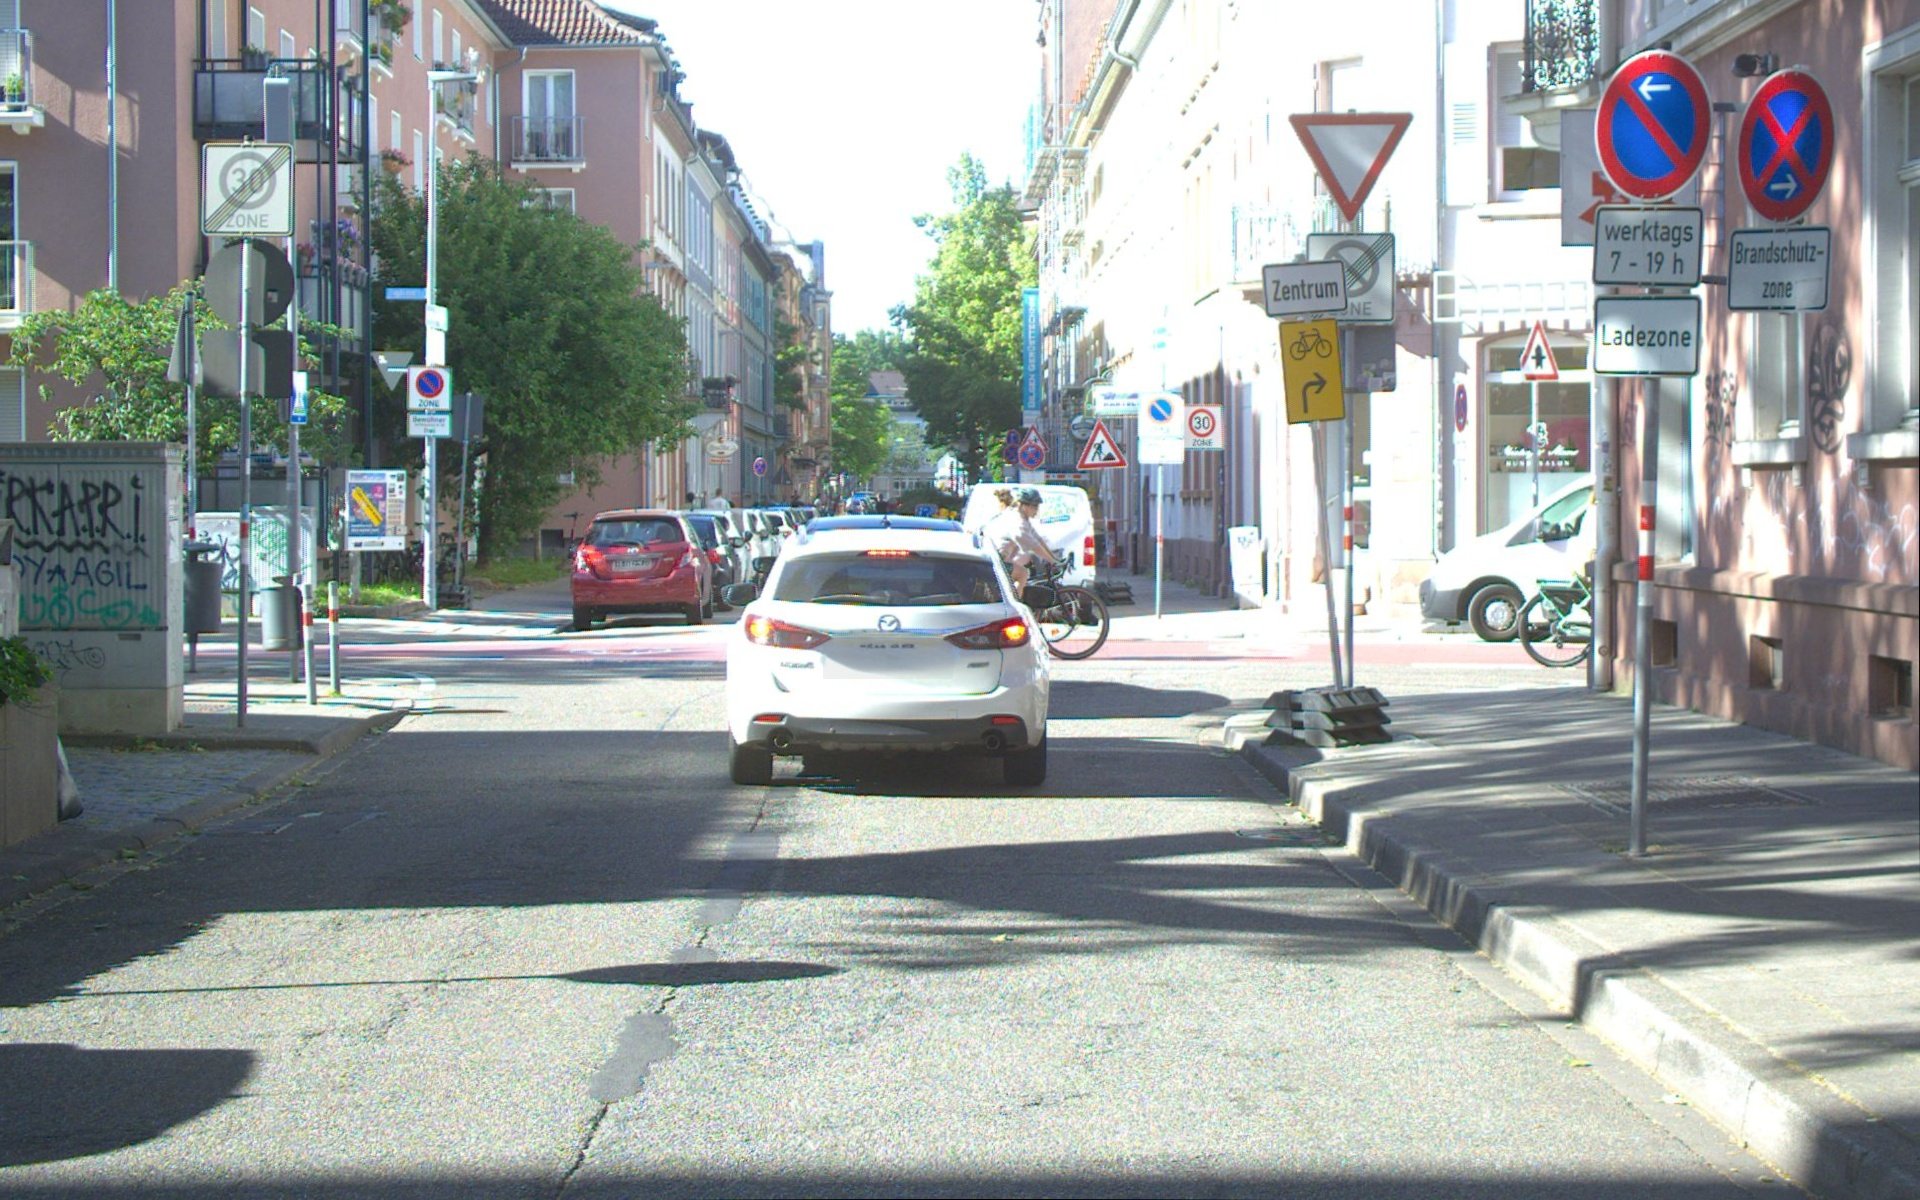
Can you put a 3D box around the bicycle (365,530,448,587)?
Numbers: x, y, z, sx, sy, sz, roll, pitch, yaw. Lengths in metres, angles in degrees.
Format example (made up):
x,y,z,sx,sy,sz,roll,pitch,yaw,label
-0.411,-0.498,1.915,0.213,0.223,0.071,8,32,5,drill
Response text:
x,y,z,sx,sy,sz,roll,pitch,yaw,label
-9.126,-0.687,56.662,0.603,0.929,1.915,-1,1,-33,bicycle

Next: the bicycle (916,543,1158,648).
x,y,z,sx,sy,sz,roll,pitch,yaw,label
0.811,-0.054,36.039,2.426,1.076,0.790,0,1,12,bicycle

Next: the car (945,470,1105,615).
x,y,z,sx,sy,sz,roll,pitch,yaw,label
0.872,-0.826,48.611,1.942,1.941,4.079,1,1,-3,car

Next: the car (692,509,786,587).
x,y,z,sx,sy,sz,roll,pitch,yaw,label
-4.304,-1.018,67.295,1.602,1.472,3.567,0,1,0,car

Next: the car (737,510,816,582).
x,y,z,sx,sy,sz,roll,pitch,yaw,label
-4.121,-1.216,77.603,1.572,1.580,3.611,0,1,0,car

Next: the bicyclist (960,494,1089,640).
x,y,z,sx,sy,sz,roll,pitch,yaw,label
0.677,-0.347,36.044,1.196,1.511,0.840,0,1,13,bicyclist

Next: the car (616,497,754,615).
x,y,z,sx,sy,sz,roll,pitch,yaw,label
-4.038,-0.668,50.985,1.720,1.677,3.726,0,1,0,car

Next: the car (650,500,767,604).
x,y,z,sx,sy,sz,roll,pitch,yaw,label
-4.102,-0.796,56.498,1.635,1.650,3.785,0,1,0,car

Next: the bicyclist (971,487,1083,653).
x,y,z,sx,sy,sz,roll,pitch,yaw,label
0.628,-0.289,32.514,0.983,1.547,0.761,-1,1,-4,bicyclist

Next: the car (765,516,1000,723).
x,y,z,sx,sy,sz,roll,pitch,yaw,label
-0.598,0.096,26.665,1.682,1.476,3.661,0,2,-1,car

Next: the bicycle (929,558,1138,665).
x,y,z,sx,sy,sz,roll,pitch,yaw,label
0.686,0.100,32.515,1.927,0.982,0.663,-1,1,-3,bicycle

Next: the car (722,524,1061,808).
x,y,z,sx,sy,sz,roll,pitch,yaw,label
-0.412,0.317,20.523,1.823,1.509,3.824,0,2,-1,car

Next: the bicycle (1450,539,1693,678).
x,y,z,sx,sy,sz,roll,pitch,yaw,label
5.609,0.075,31.607,2.164,1.250,0.833,0,1,9,bicycle

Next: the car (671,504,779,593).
x,y,z,sx,sy,sz,roll,pitch,yaw,label
-4.298,-0.949,63.283,1.720,1.571,3.726,0,1,0,car

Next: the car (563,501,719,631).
x,y,z,sx,sy,sz,roll,pitch,yaw,label
-4.165,-0.480,45.388,1.769,1.583,3.727,-1,2,-1,car

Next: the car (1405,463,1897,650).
x,y,z,sx,sy,sz,roll,pitch,yaw,label
7.496,-0.471,37.308,4.896,1.922,1.997,1,0,24,car

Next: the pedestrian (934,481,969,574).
x,y,z,sx,sy,sz,roll,pitch,yaw,label
-0.200,-1.650,78.591,0.771,2.110,0.835,0,1,0,pedestrian

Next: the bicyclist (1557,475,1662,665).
x,y,z,sx,sy,sz,roll,pitch,yaw,label
5.956,-0.281,31.576,0.925,1.714,0.942,0,1,10,bicyclist

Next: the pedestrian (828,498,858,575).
x,y,z,sx,sy,sz,roll,pitch,yaw,label
-2.726,-1.478,80.228,0.647,1.791,0.639,0,1,0,pedestrian
